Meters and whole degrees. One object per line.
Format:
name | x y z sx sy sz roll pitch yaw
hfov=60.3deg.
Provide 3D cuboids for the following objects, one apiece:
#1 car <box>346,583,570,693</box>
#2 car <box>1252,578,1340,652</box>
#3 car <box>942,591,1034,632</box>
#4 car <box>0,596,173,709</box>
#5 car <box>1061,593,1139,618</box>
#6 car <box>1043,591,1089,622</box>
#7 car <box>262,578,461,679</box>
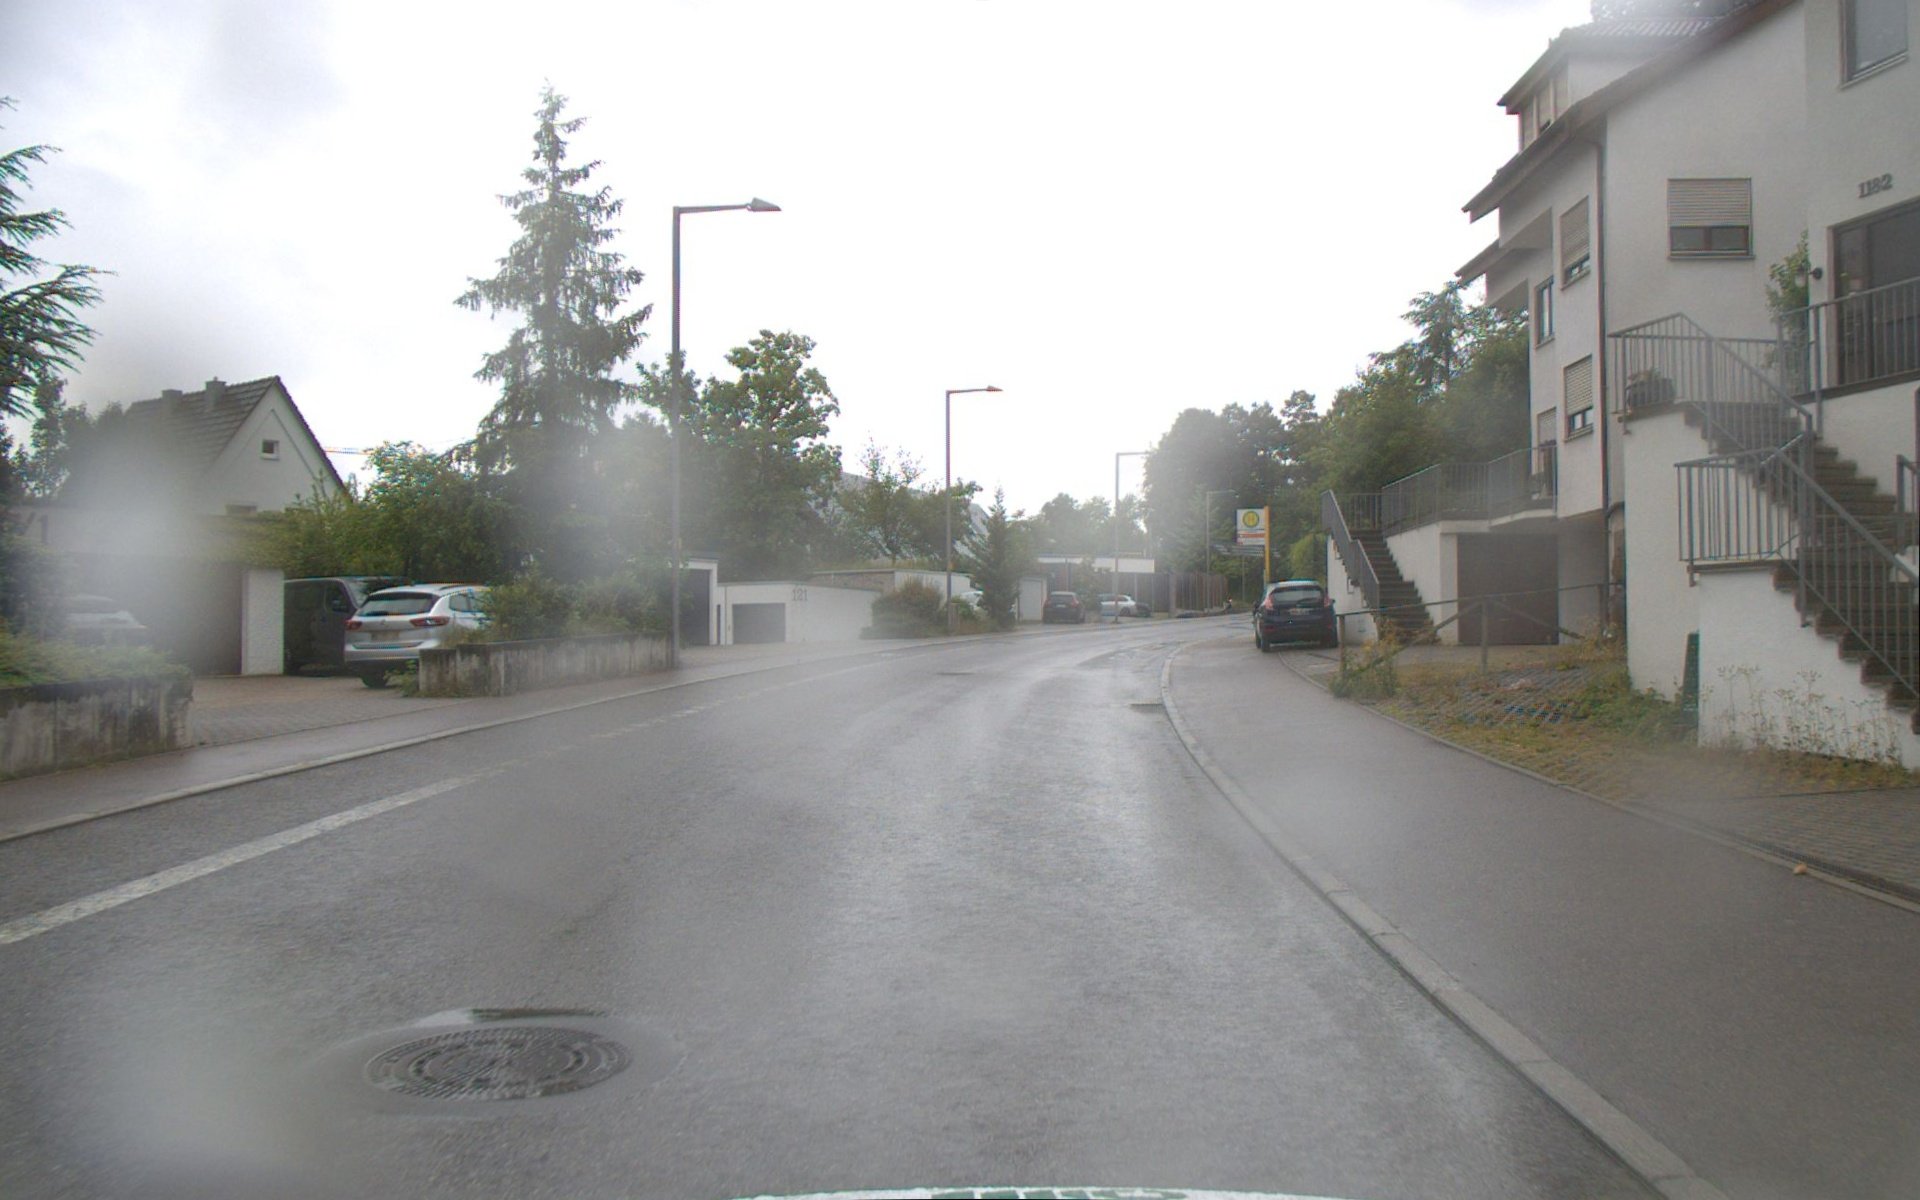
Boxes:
car | -7.763 0.557 25.977 1.697 1.578 4.003 -1 0 11
car | 7.491 0.309 37.180 1.669 1.479 4.024 -3 0 9
car | 1.152 0.421 65.363 1.674 1.580 4.378 0 0 32
car | -13.096 0.678 23.354 3.919 1.462 1.934 0 0 35
car | 8.497 0.323 100.564 4.454 1.467 1.750 1 0 -22
car | 5.070 0.307 78.668 1.794 1.430 4.263 0 0 9
car | -11.839 0.553 32.633 3.924 1.870 1.990 -1 0 39
